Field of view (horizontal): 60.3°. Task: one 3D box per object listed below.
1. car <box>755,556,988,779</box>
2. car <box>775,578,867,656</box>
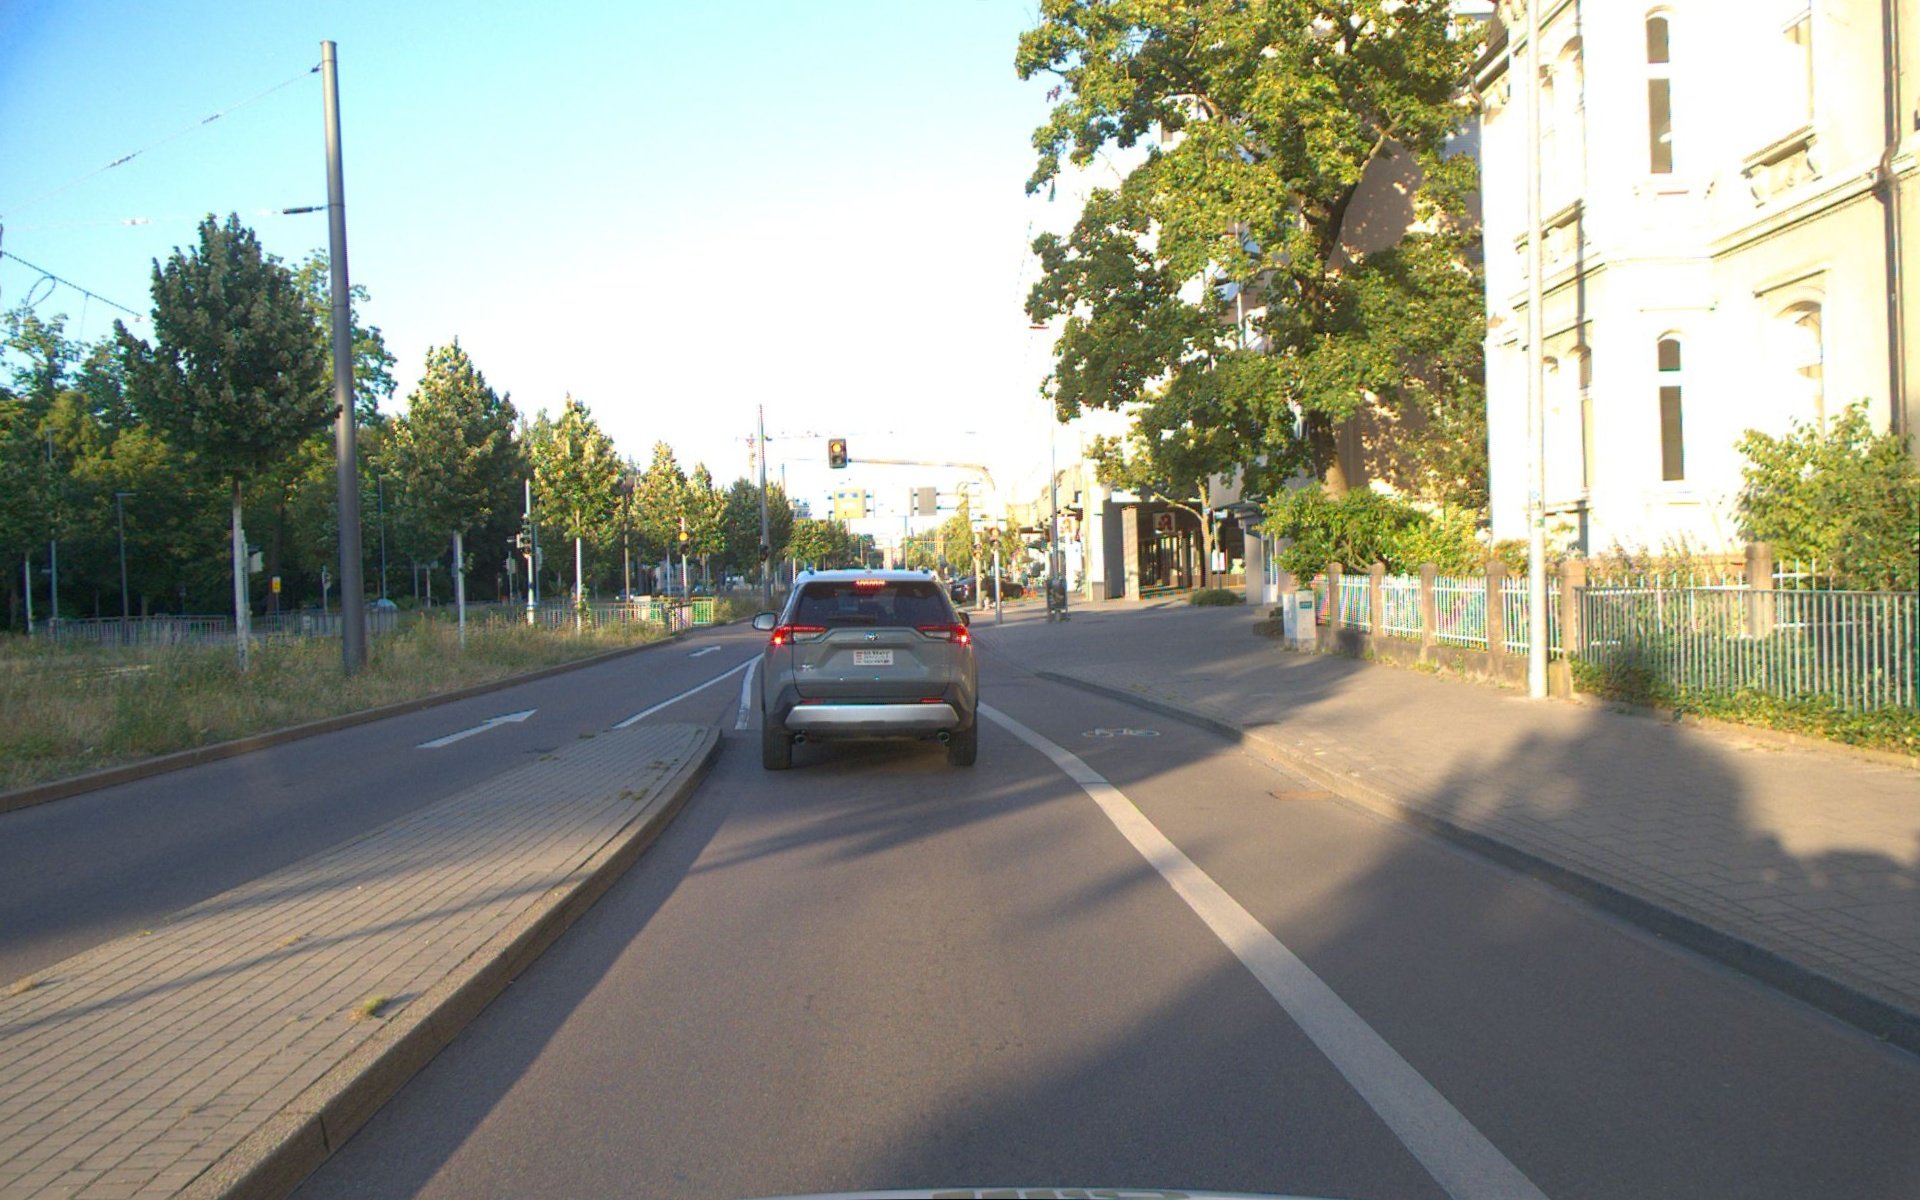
[{"bbox_3d":[-0.787,0.493,15.095,1.821,1.744,4.190,0,1,-3],"label":"car"},{"bbox_3d":[-2.939,0.315,35.614,1.821,1.578,4.107,0,1,-3],"label":"car"}]
